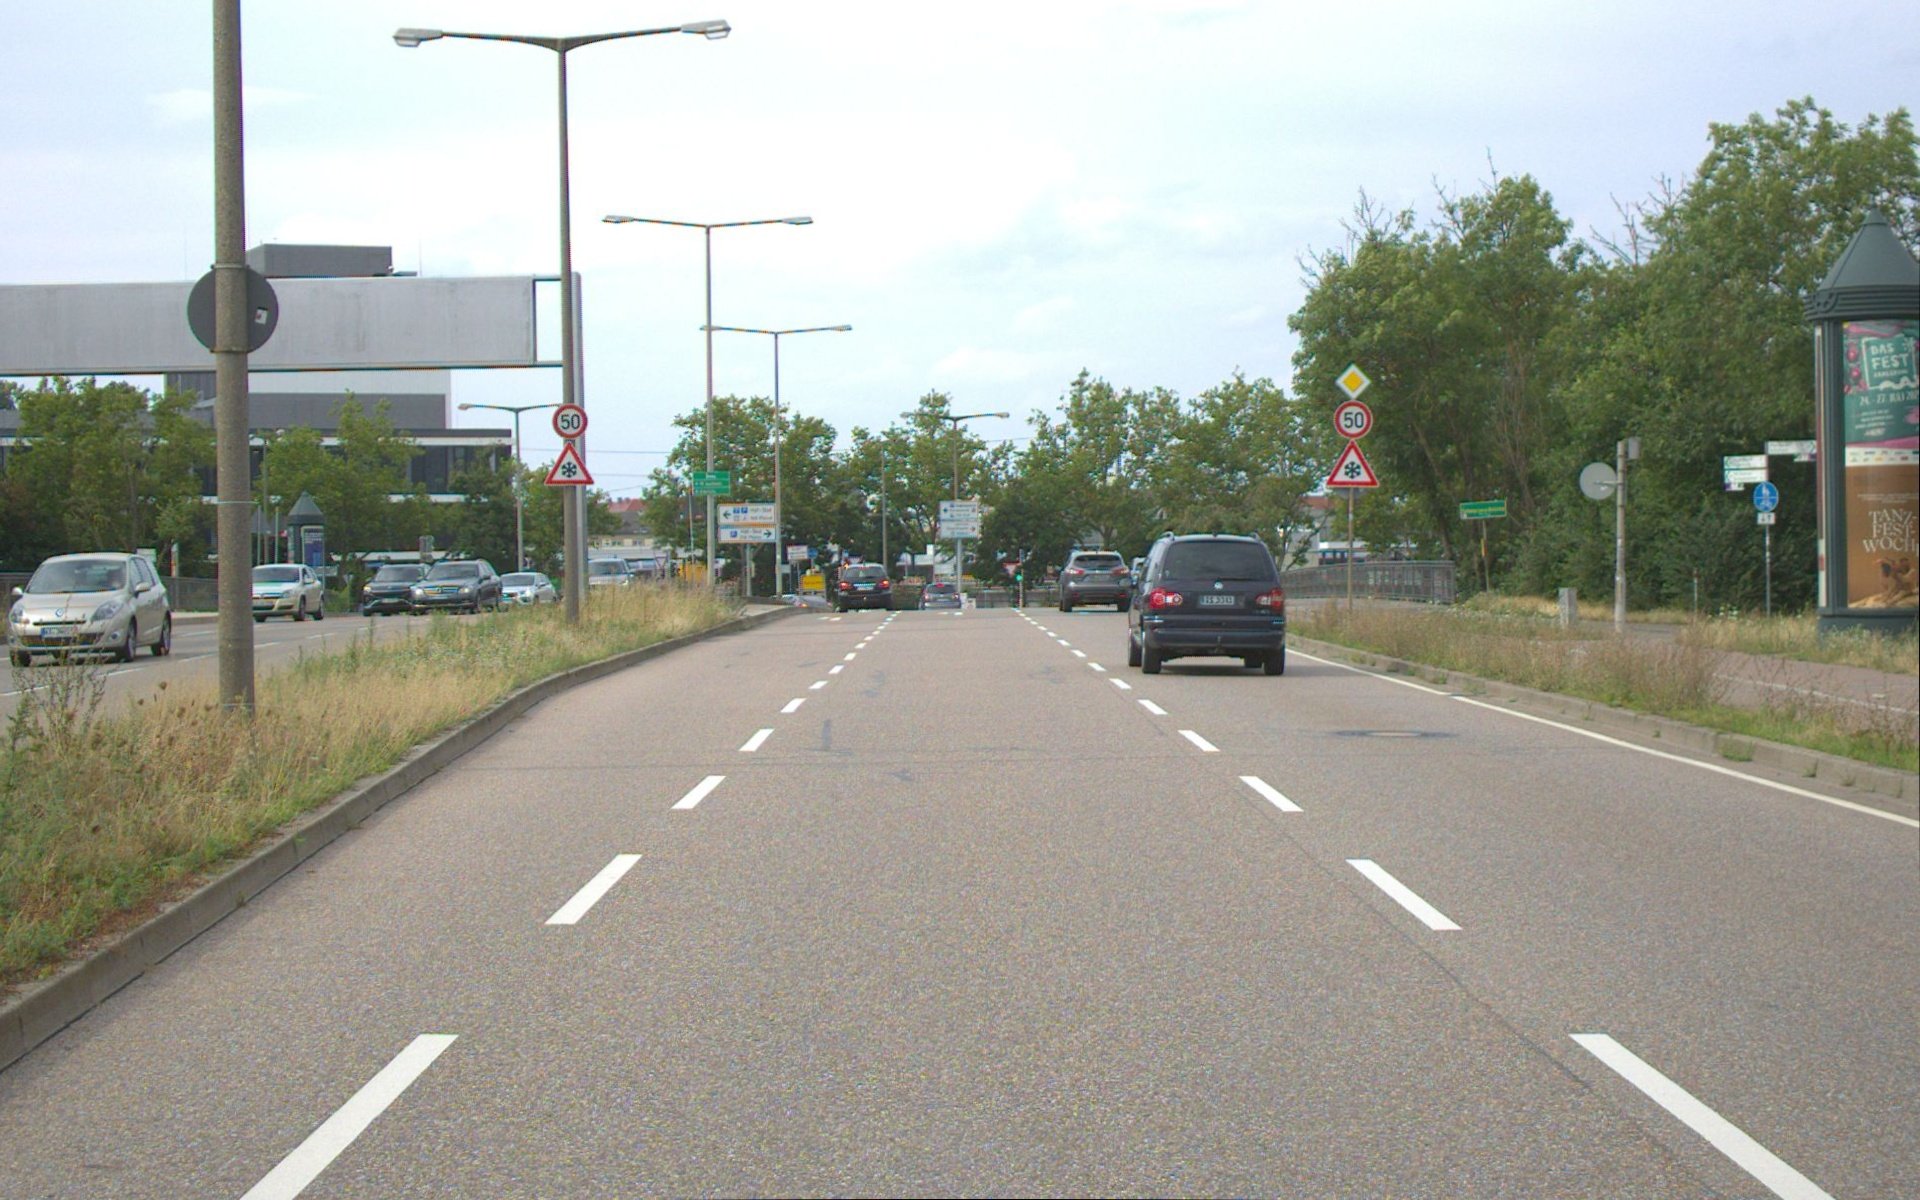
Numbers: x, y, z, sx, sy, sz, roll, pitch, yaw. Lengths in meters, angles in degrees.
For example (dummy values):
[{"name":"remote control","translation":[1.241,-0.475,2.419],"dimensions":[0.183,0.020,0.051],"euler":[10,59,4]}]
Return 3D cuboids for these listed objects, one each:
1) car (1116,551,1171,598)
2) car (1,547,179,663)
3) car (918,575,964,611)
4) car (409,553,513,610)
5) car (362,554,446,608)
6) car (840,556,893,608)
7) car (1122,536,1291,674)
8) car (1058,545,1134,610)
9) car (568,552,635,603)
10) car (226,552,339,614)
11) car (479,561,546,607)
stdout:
[{"name":"car","translation":[5.937,-0.842,111.395],"dimensions":[1.507,1.442,3.140],"euler":[0,2,-2]},{"name":"car","translation":[-13.131,0.035,52.156],"dimensions":[1.745,1.593,4.566],"euler":[-2,1,-3]},{"name":"car","translation":[-0.853,-0.303,151.845],"dimensions":[1.730,1.521,4.116],"euler":[0,1,-4]},{"name":"car","translation":[-13.288,-0.493,91.802],"dimensions":[1.666,1.420,4.518],"euler":[-2,0,6]},{"name":"car","translation":[-16.851,-0.570,104.362],"dimensions":[1.793,1.519,4.594],"euler":[-2,0,-1]},{"name":"car","translation":[-3.081,-0.615,113.808],"dimensions":[1.730,1.647,4.115],"euler":[0,1,-1]},{"name":"car","translation":[3.050,0.025,43.323],"dimensions":[1.730,1.647,4.115],"euler":[0,1,-1]},{"name":"car","translation":[3.556,-0.618,90.634],"dimensions":[1.730,1.647,4.115],"euler":[0,1,-1]},{"name":"car","translation":[-10.563,-0.672,101.450],"dimensions":[1.694,1.481,3.861],"euler":[0,1,-2]},{"name":"car","translation":[-16.852,-0.424,85.684],"dimensions":[1.666,1.414,4.313],"euler":[-3,0,3]},{"name":"car","translation":[-15.757,-0.558,121.096],"dimensions":[1.793,1.519,4.188],"euler":[-2,0,-1]}]
